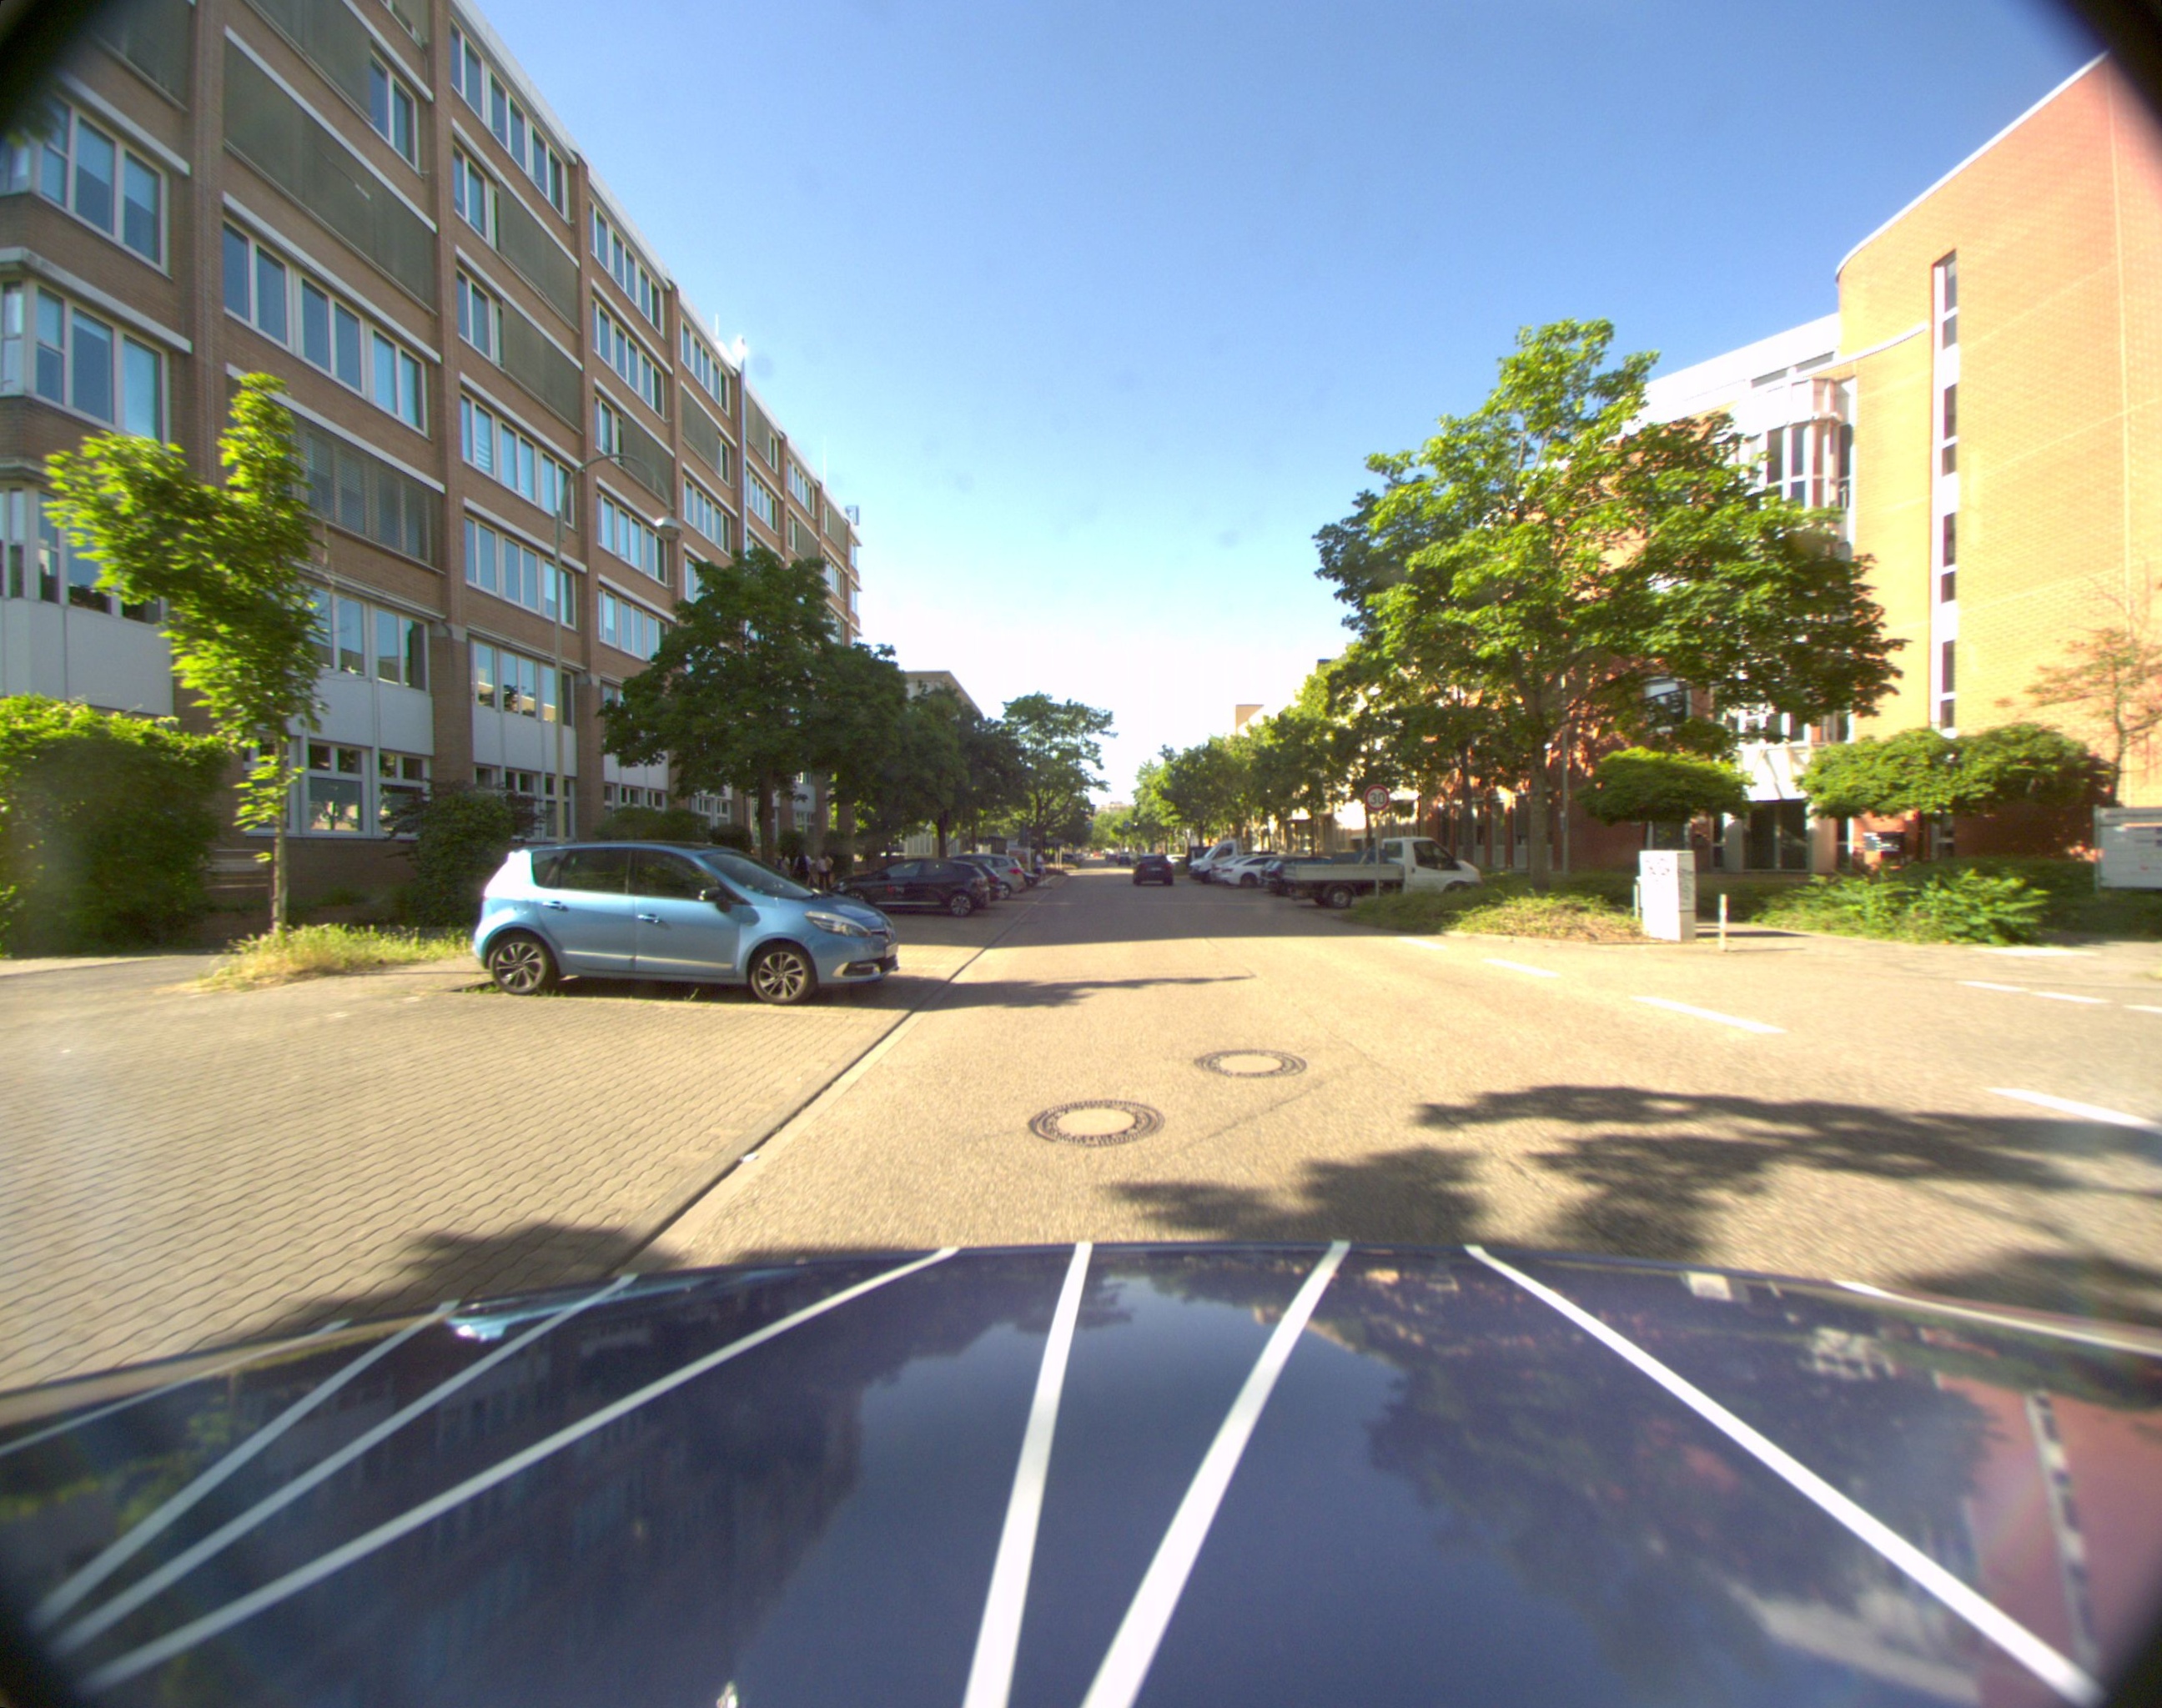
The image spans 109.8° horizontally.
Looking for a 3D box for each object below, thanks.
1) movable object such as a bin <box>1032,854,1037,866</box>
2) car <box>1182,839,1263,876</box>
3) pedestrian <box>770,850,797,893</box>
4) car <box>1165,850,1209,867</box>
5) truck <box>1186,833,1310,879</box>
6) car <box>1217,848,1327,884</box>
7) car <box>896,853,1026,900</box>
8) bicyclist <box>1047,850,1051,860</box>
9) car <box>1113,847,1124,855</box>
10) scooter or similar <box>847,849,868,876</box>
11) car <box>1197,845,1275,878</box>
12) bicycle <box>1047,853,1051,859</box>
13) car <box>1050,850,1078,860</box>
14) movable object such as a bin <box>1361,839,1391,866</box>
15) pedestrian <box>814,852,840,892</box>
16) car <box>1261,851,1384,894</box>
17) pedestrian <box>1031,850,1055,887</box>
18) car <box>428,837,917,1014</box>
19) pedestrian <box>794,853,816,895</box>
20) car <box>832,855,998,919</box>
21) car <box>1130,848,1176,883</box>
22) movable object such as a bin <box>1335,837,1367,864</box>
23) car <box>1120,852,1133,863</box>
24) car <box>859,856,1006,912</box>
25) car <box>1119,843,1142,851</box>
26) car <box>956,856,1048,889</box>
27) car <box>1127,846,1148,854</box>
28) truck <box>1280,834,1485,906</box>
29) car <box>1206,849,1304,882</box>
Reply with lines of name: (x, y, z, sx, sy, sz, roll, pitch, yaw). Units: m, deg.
movable object such as a bin: (-2.969, 0.353, 48.761, 0.299, 0.749, 0.467, 1, 2, 1)
car: (8.640, 0.220, 46.559, 4.493, 2.040, 1.999, -2, 1, -1)
pedestrian: (-10.887, 0.632, 27.855, 0.758, 1.543, 0.559, 0, 1, -2)
car: (9.851, 0.416, 70.916, 3.764, 1.444, 1.754, -3, 1, 1)
truck: (8.919, 0.110, 41.088, 6.247, 2.408, 2.187, 0, 1, 1)
car: (8.783, 0.555, 35.148, 4.553, 1.434, 1.890, -2, 0, -1)
car: (-4.155, 0.763, 26.821, 4.365, 1.588, 1.938, 0, 0, -5)
bicyclist: (-5.180, 0.124, 123.002, 0.538, 1.627, 0.822, -1, 1, 1)
car: (6.978, -0.587, 141.353, 1.784, 1.503, 4.000, -1, 1, 1)
scooter or similar: (-11.293, 0.408, 38.425, 0.550, 1.318, 1.805, -2, 1, -4)
car: (8.936, 0.419, 44.065, 4.117, 1.652, 2.000, -2, 1, 1)
bicycle: (-5.171, 0.322, 122.994, 0.535, 1.072, 1.919, -1, 1, 2)
car: (-2.548, 0.157, 113.160, 4.126, 1.363, 1.654, 1, 1, -3)
movable object such as a bin: (18.242, -0.113, 47.051, 1.149, 1.610, 1.440, -1, 1, -11)
pedestrian: (-9.277, 0.649, 27.792, 0.702, 1.449, 0.715, 0, 1, -2)
car: (8.754, 0.668, 27.813, 3.995, 1.427, 1.789, -1, 1, 5)
pedestrian: (-1.790, 0.681, 35.776, 0.921, 1.701, 0.697, 2, 0, -12)
car: (-4.284, 0.703, 8.527, 4.416, 1.609, 1.911, 2, 1, 0)
pedestrian: (-10.102, 0.730, 27.824, 0.604, 1.512, 0.594, 0, 1, -2)
car: (-4.165, 0.818, 19.564, 3.857, 1.475, 1.824, 2, 0, -2)
car: (3.703, 0.540, 39.531, 1.897, 1.674, 4.351, 0, 1, -1)
movable object such as a bin: (18.155, -0.260, 51.191, 1.602, 1.786, 1.664, -1, 1, 3)
car: (6.246, 0.507, 104.583, 1.648, 1.412, 4.000, -1, 1, 1)
car: (-4.164, 0.824, 21.681, 3.810, 1.400, 1.702, 2, 0, 0)
car: (11.259, -1.625, 173.584, 5.317, 1.876, 2.000, 0, 1, 2)
car: (-3.499, 0.825, 34.122, 3.945, 1.431, 1.774, 0, 0, -1)
car: (11.193, -0.776, 151.218, 4.003, 1.411, 1.618, -2, 1, 0)
truck: (8.434, 0.430, 21.643, 4.996, 1.948, 2.138, 0, 0, 3)
car: (8.703, 0.547, 38.257, 4.438, 1.478, 2.000, -2, 1, 0)
